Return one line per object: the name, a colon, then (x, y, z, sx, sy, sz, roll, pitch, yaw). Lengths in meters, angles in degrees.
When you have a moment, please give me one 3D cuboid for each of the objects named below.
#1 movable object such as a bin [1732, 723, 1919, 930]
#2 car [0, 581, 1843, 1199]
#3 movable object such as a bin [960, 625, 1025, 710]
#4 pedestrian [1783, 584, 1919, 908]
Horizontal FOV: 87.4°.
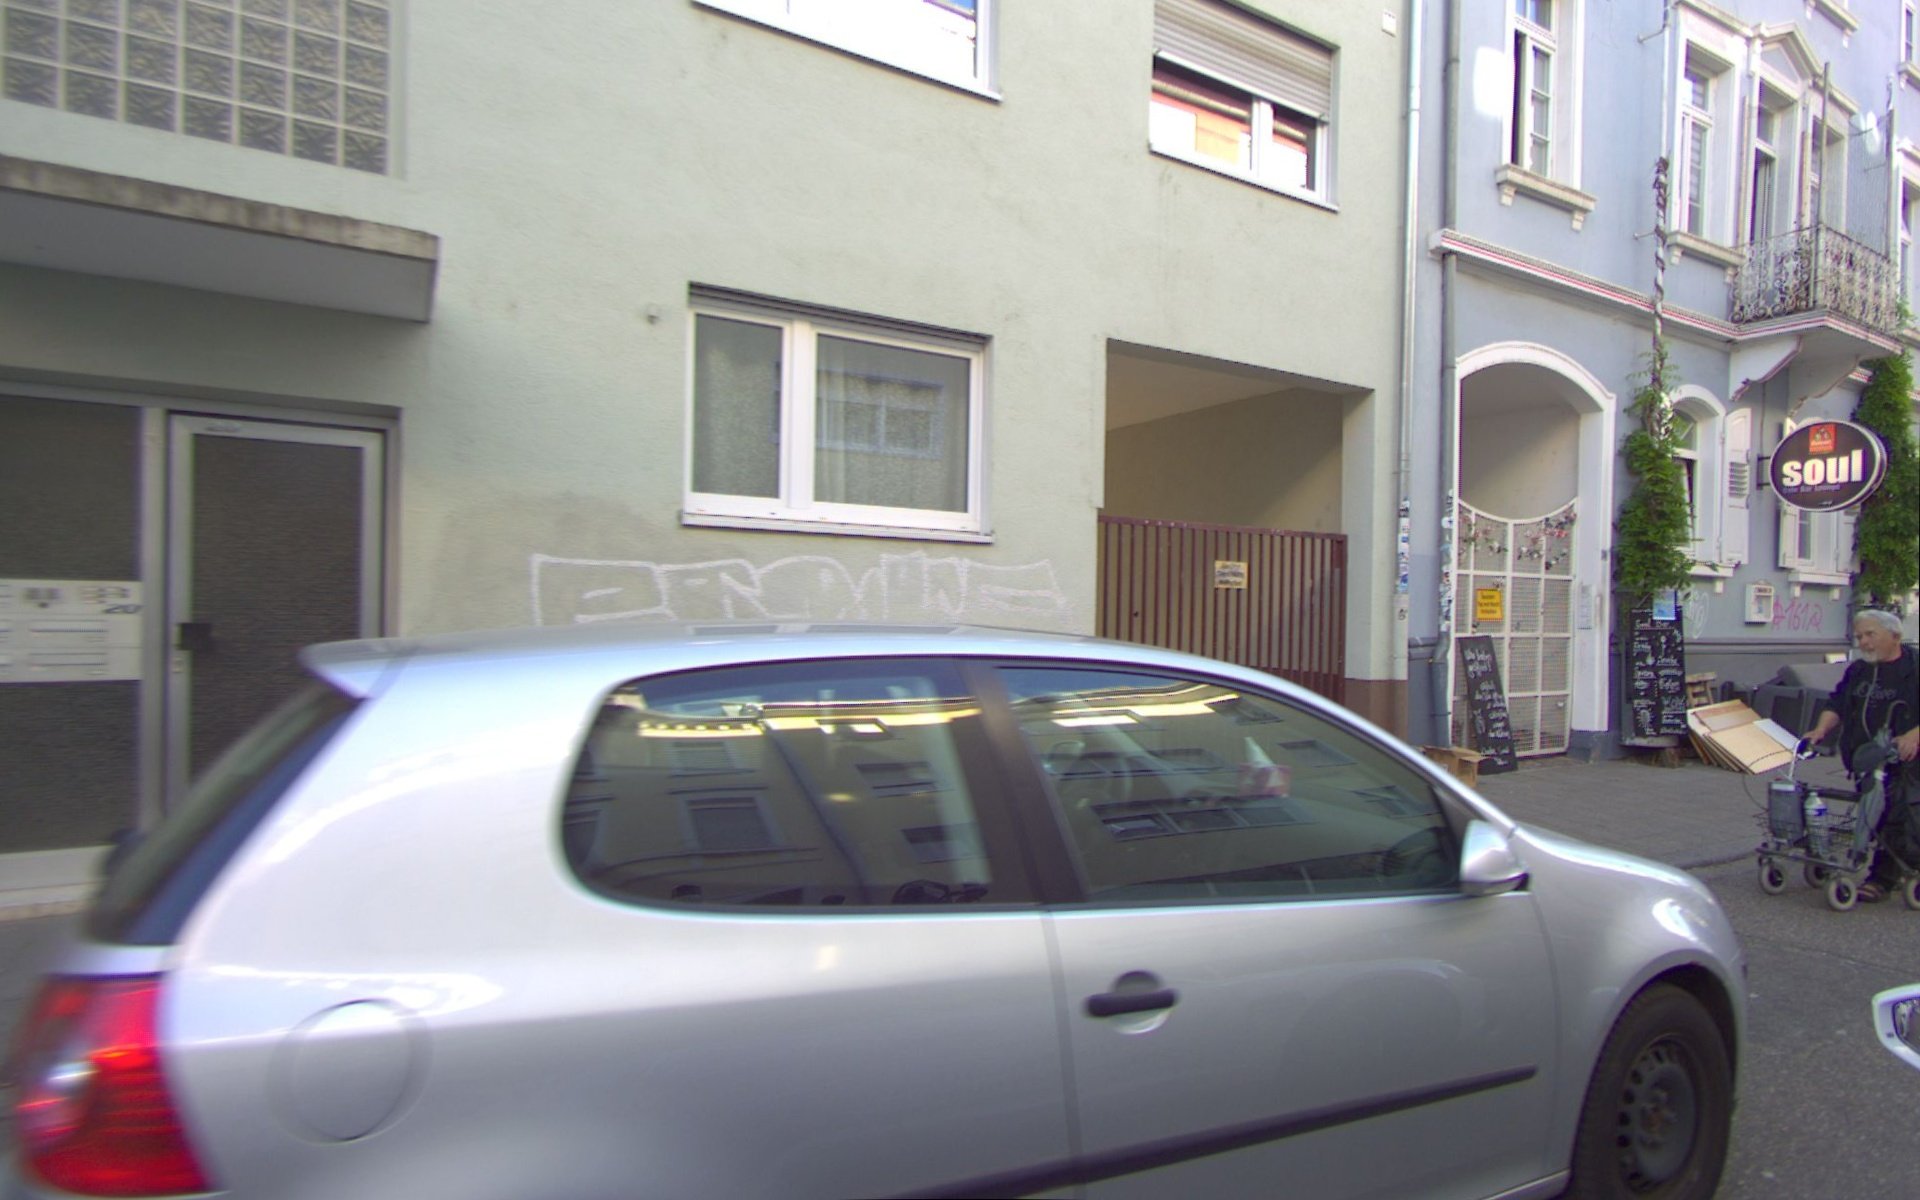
movable object such as a bin: (4.844, 1.192, 5.480, 0.579, 0.909, 0.839, 1, 1, -33)
car: (0.209, 0.766, 2.530, 3.981, 1.474, 1.675, 1, -2, -27)
movable object such as a bin: (0.423, 0.875, 13.266, 0.676, 1.078, 0.517, 1, 0, -30)
pedestrian: (5.313, 0.788, 5.756, 0.664, 1.730, 0.709, 1, 1, -32)
